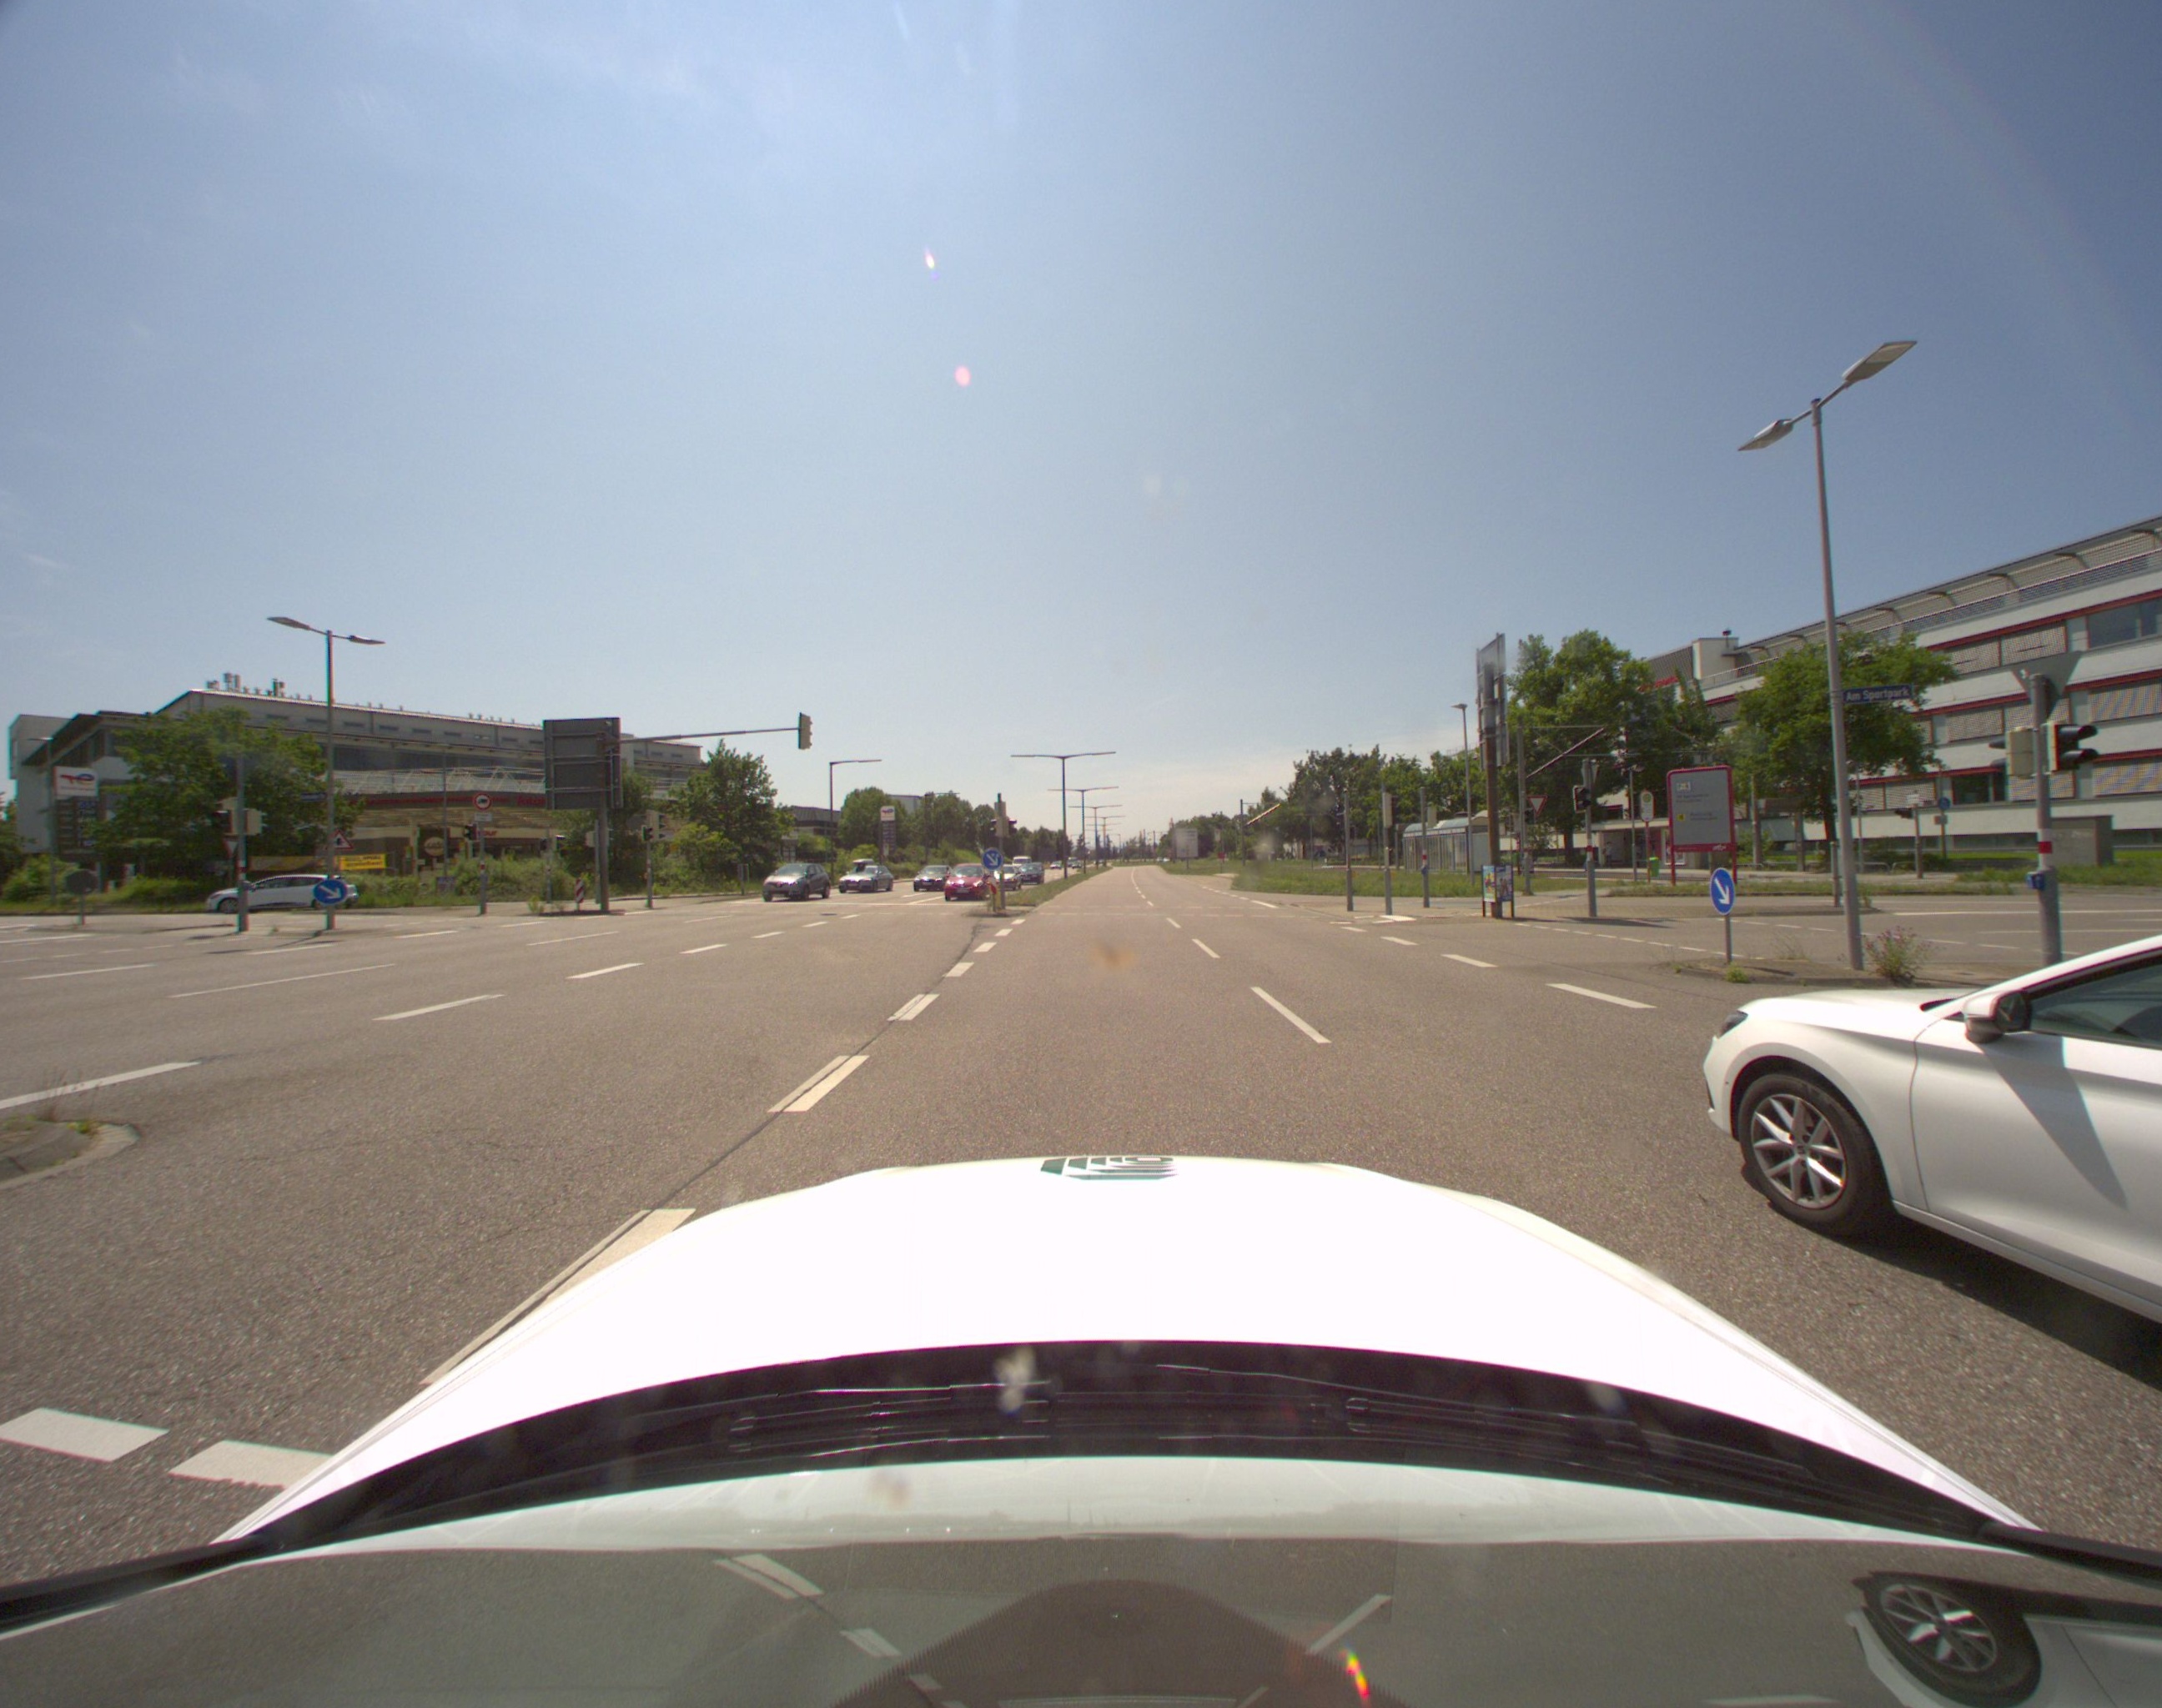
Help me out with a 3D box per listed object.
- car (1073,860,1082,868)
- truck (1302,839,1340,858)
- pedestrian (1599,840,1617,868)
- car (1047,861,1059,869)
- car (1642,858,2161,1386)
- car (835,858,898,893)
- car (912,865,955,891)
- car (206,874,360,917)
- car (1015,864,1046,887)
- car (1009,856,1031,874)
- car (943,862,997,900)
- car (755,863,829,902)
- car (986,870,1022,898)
[{"bbox_3d":[-0.683,1.940,160.280,1.724,1.458,4.565,-2,0,1],"label":"car"},{"bbox_3d":[41.303,-0.887,140.148,5.831,2.843,2.316,-3,-1,-5],"label":"truck"},{"bbox_3d":[30.765,-0.003,47.549,0.549,1.608,0.691,0,-2,3],"label":"pedestrian"},{"bbox_3d":[-5.306,2.062,154.172,1.824,1.449,4.853,-2,0,2],"label":"car"},{"bbox_3d":[3.735,0.716,1.959,1.677,1.390,4.449,-1,-1,0],"label":"car"},{"bbox_3d":[-11.538,1.116,44.193,1.958,1.750,5.023,-1,0,1],"label":"car"},{"bbox_3d":[-8.170,1.312,45.480,1.591,1.385,4.004,-1,0,1],"label":"car"},{"bbox_3d":[-30.449,1.550,31.254,3.837,1.450,1.812,-1,-1,-28],"label":"car"},{"bbox_3d":[-3.427,1.446,55.816,1.669,1.434,4.192,-1,-1,2],"label":"car"},{"bbox_3d":[-7.913,1.440,106.268,2.240,2.273,5.453,0,-1,3],"label":"car"},{"bbox_3d":[-4.650,1.105,34.581,1.652,1.490,4.000,-1,0,1],"label":"car"},{"bbox_3d":[-12.201,1.168,34.686,1.652,1.539,4.000,0,0,1],"label":"car"},{"bbox_3d":[-4.214,1.627,44.997,1.555,1.423,3.854,-1,0,1],"label":"car"}]
